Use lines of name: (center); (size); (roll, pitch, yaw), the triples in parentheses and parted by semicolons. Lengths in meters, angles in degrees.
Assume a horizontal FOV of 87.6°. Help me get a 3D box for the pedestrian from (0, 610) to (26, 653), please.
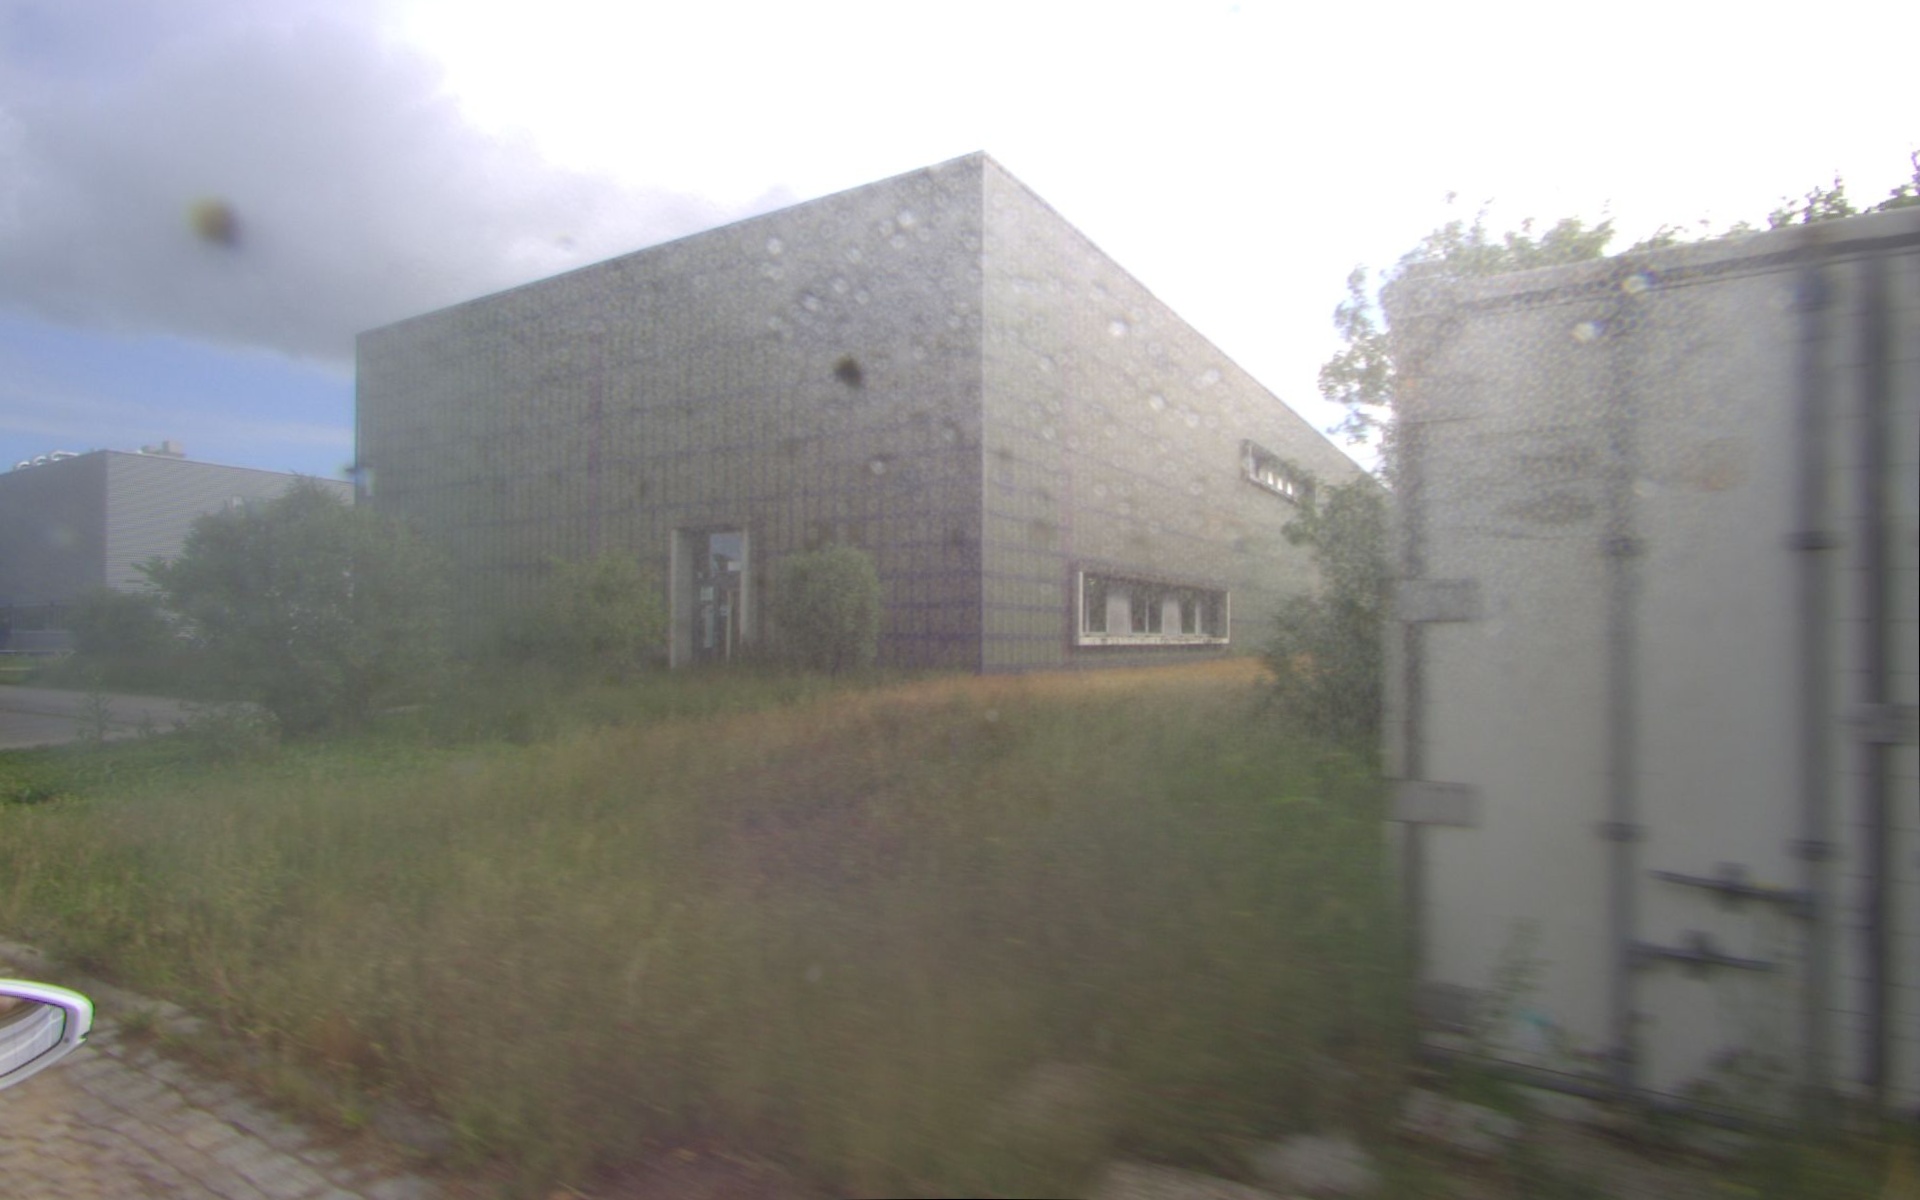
pedestrian: (-44.165, 1.470, 46.393); (0.838, 1.961, 0.920); (0, -1, 2)
